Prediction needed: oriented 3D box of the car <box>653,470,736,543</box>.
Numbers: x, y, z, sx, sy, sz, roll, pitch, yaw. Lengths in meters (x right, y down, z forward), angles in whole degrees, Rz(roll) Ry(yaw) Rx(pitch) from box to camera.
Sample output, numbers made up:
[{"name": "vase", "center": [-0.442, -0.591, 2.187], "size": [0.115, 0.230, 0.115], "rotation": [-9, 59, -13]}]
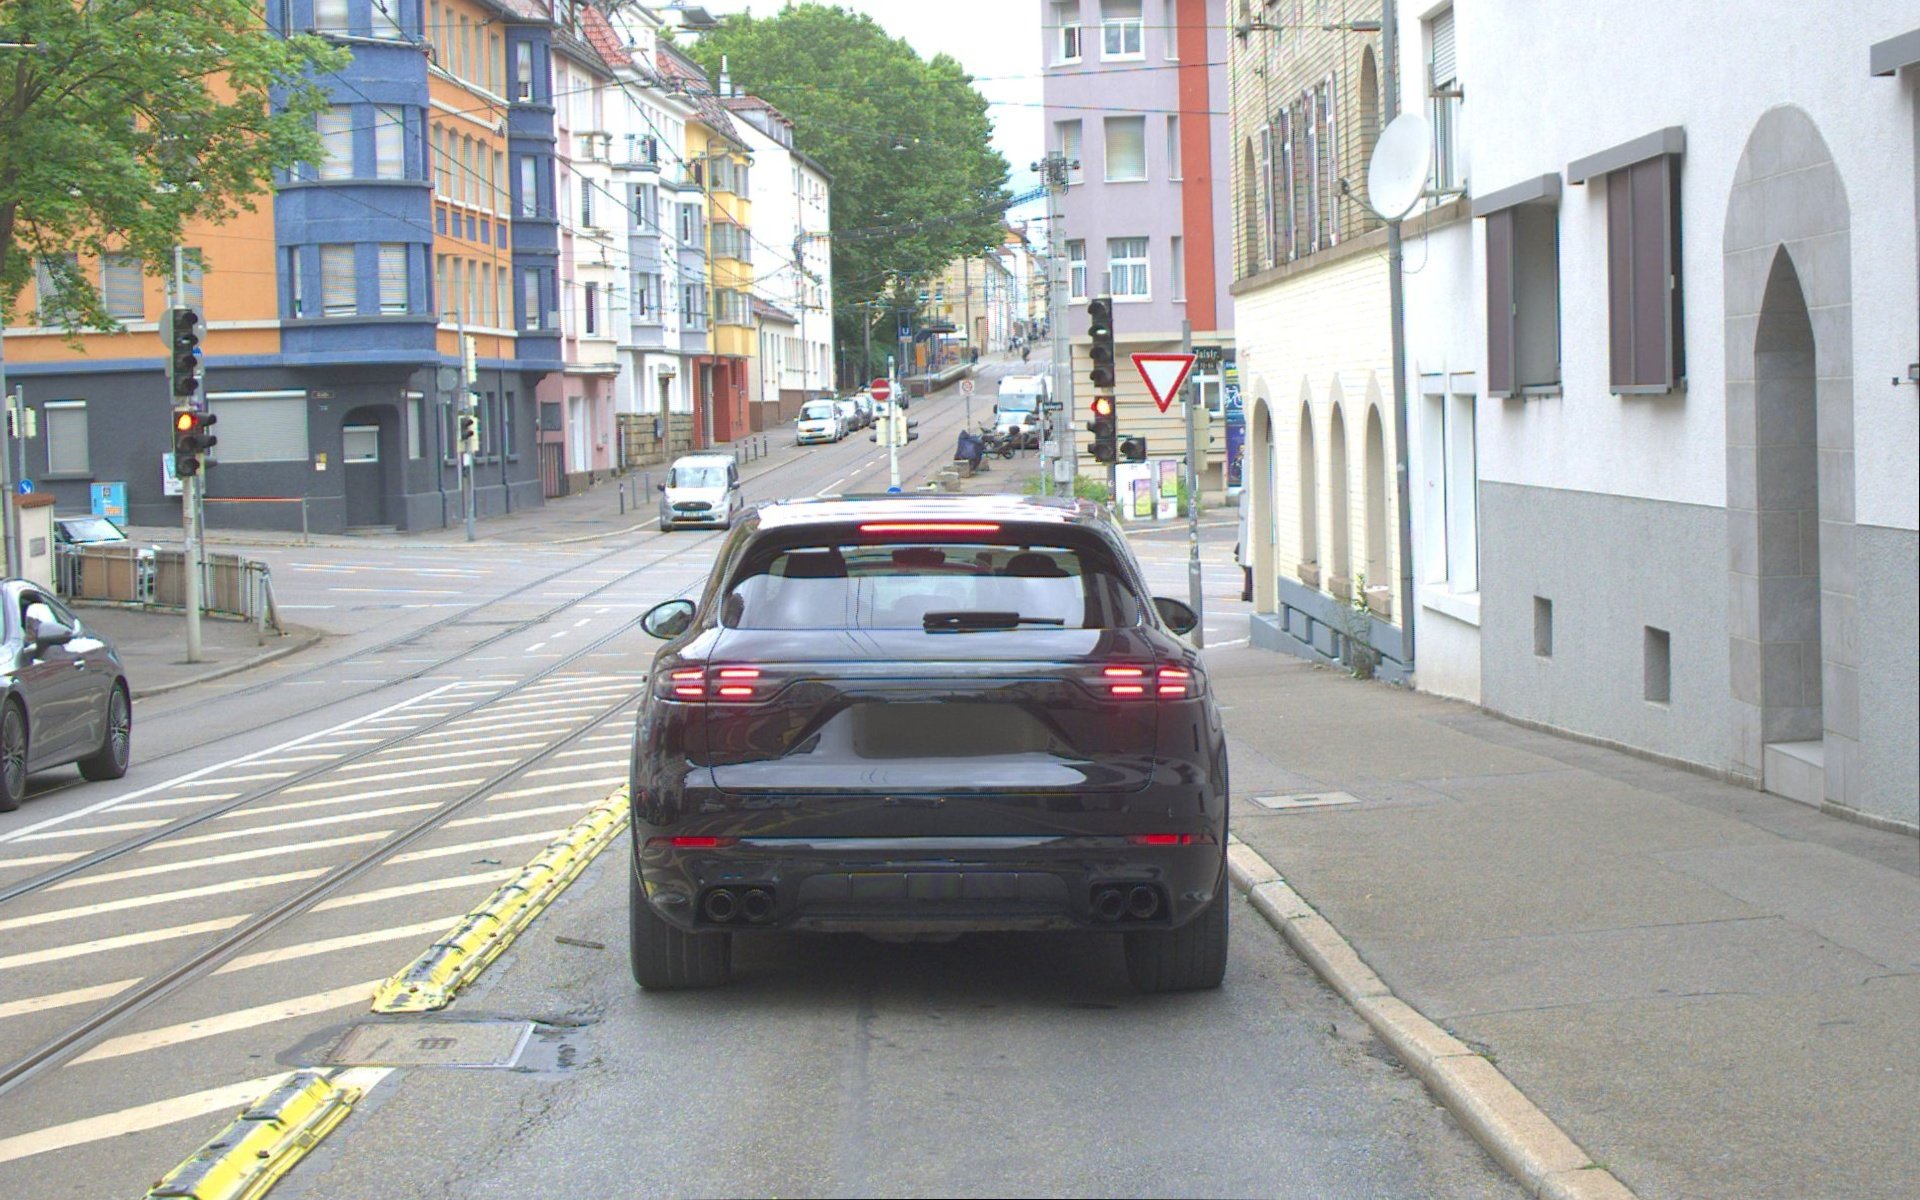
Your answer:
[{"name": "car", "center": [-6.784, -2.378, 88.215], "size": [1.751, 1.754, 4.254], "rotation": [-1, 1, 0]}]

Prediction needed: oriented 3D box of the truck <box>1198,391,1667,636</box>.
[{"name": "truck", "center": [6.958, -1.226, 50.795], "size": [6.390, 3.359, 2.344], "rotation": [-1, 1, 27]}]

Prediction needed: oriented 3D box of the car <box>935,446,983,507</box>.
[{"name": "car", "center": [-0.032, -3.711, 103.780], "size": [1.394, 1.716, 3.359], "rotation": [-1, 1, 0]}]

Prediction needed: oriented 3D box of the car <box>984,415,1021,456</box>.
[{"name": "car", "center": [1.666, -6.483, 135.762], "size": [1.394, 1.445, 3.359], "rotation": [-1, 1, 0]}]

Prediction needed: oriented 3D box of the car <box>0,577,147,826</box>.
[{"name": "car", "center": [-6.576, 0.601, 21.632], "size": [1.921, 1.419, 4.498], "rotation": [-1, 1, -1]}]

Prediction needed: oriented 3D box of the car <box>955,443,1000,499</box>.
[{"name": "car", "center": [0.548, -4.148, 110.868], "size": [1.394, 1.716, 3.359], "rotation": [-1, 1, 0]}]

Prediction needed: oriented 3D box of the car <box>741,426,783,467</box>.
[{"name": "car", "center": [-7.648, -5.910, 132.805], "size": [1.394, 1.445, 3.359], "rotation": [-1, 1, 0]}]

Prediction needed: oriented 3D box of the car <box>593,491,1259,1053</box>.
[{"name": "car", "center": [-0.141, 0.500, 12.501], "size": [1.993, 1.670, 4.000], "rotation": [-1, 1, -1]}]

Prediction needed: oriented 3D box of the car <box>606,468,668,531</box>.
[{"name": "car", "center": [-9.126, -2.833, 97.339], "size": [1.394, 1.716, 3.359], "rotation": [-1, 1, 0]}]
